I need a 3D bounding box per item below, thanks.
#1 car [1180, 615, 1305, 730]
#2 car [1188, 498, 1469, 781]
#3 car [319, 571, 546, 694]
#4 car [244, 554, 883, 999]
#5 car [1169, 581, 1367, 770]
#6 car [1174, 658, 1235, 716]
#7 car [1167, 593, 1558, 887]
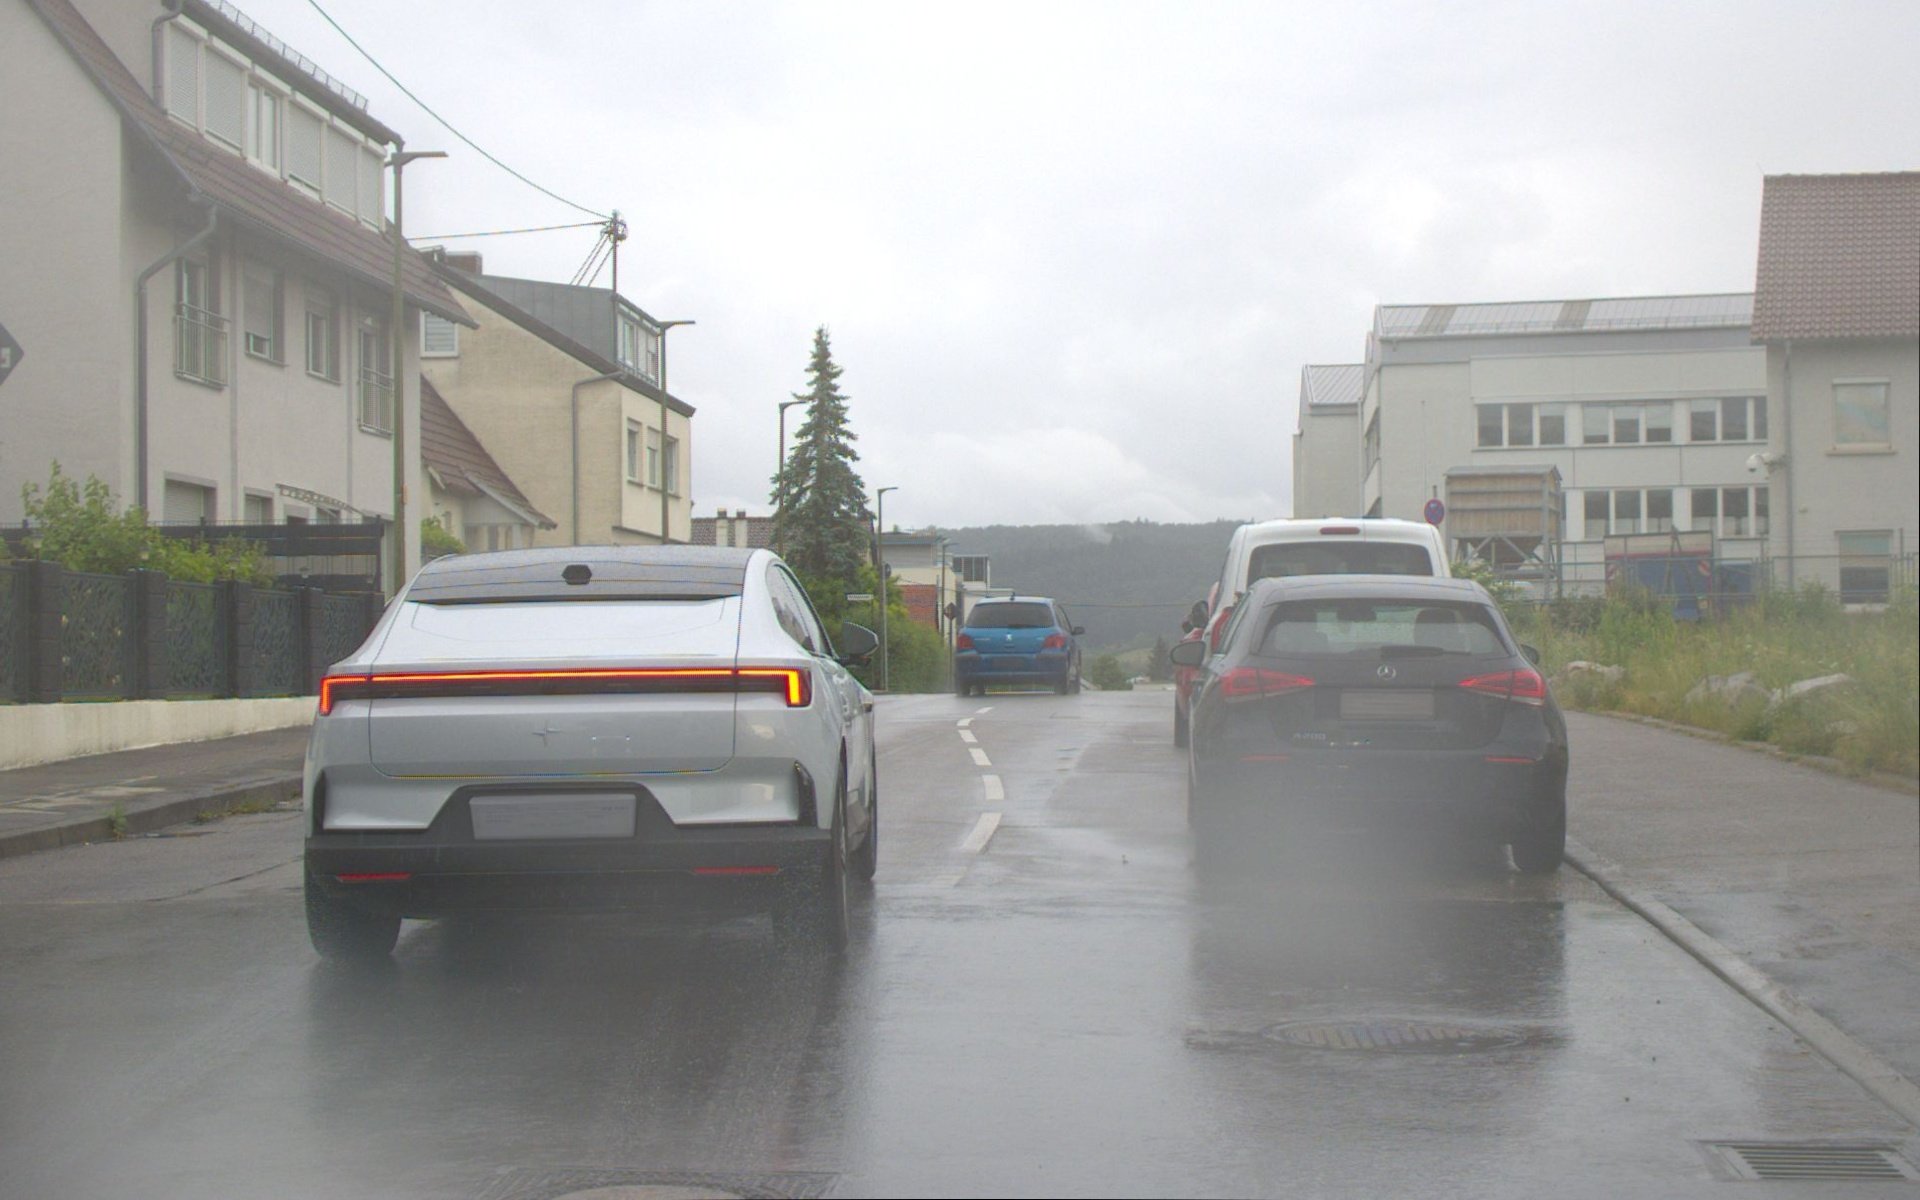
[{"bbox_3d":[3.986,1.002,48.951,1.681,1.552,3.674,1,0,3],"label":"car"},{"bbox_3d":[2.543,0.252,24.642,1.769,1.819,4.574,1,0,3],"label":"car"},{"bbox_3d":[-7.149,0.433,47.068,1.994,1.505,4.895,3,0,4],"label":"car"},{"bbox_3d":[-1.388,0.594,13.910,1.993,1.497,4.670,0,0,1],"label":"car"},{"bbox_3d":[2.801,0.631,31.189,1.643,1.569,4.642,1,0,5],"label":"car"},{"bbox_3d":[9.218,3.309,129.940,1.993,2.007,3.999,-1,-4,1],"label":"car"},{"bbox_3d":[1.980,0.641,17.983,1.769,1.331,4.320,1,0,3],"label":"car"}]
